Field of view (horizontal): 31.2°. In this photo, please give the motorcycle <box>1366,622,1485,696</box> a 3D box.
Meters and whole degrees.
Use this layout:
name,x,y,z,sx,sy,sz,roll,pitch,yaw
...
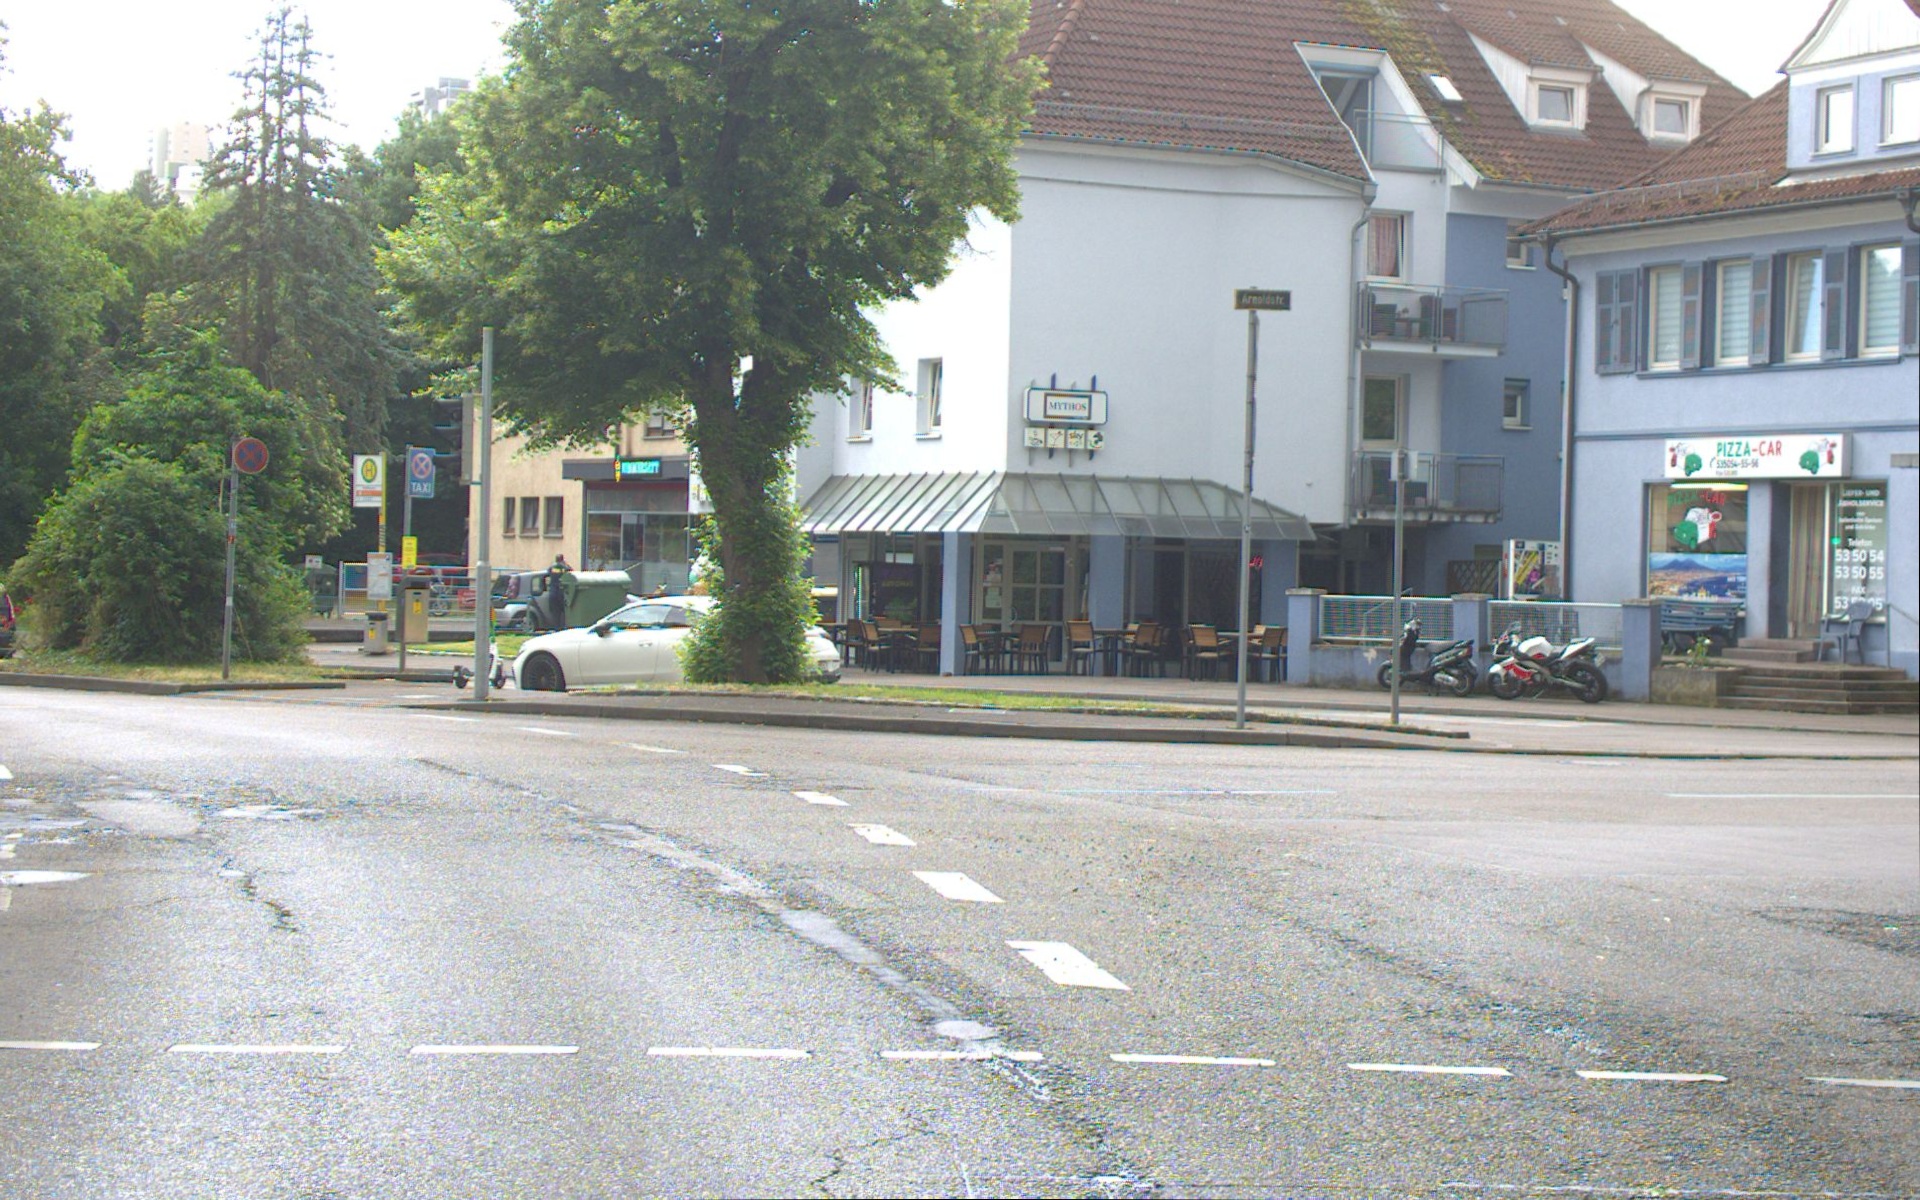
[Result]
name,x,y,z,sx,sy,sz,roll,pitch,yaw
motorcycle,6.780,0.851,50.117,1.724,1.028,0.488,1,1,43

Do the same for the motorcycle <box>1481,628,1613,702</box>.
name,x,y,z,sx,sy,sz,roll,pitch,yaw
motorcycle,8.228,0.900,48.259,1.822,0.982,0.520,1,0,43

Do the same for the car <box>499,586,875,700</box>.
name,x,y,z,sx,sy,sz,roll,pitch,yaw
car,-3.652,0.538,45.625,4.782,1.382,1.996,1,0,34

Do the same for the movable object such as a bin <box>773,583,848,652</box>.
name,x,y,z,sx,sy,sz,roll,pitch,yaw
movable object such as a bin,-3.061,0.349,70.400,1.214,1.390,1.161,1,0,-22

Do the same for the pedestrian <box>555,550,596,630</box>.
name,x,y,z,sx,sy,sz,roll,pitch,yaw
pedestrian,-8.336,-0.220,74.532,0.687,1.723,0.611,1,0,-32

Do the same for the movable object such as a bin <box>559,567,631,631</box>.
name,x,y,z,sx,sy,sz,roll,pitch,yaw
movable object such as a bin,-7.849,-0.023,73.876,1.216,1.340,0.995,1,0,-31

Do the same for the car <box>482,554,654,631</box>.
name,x,y,z,sx,sy,sz,roll,pitch,yaw
car,-8.633,-0.171,75.721,3.412,1.625,1.625,1,0,-25

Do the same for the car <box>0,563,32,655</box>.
name,x,y,z,sx,sy,sz,roll,pitch,yaw
car,-16.381,0.080,53.667,3.489,1.399,1.571,2,1,28

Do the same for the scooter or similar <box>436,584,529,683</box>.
name,x,y,z,sx,sy,sz,roll,pitch,yaw
scooter or similar,-5.914,0.423,42.631,0.412,1.163,1.360,2,-2,26
